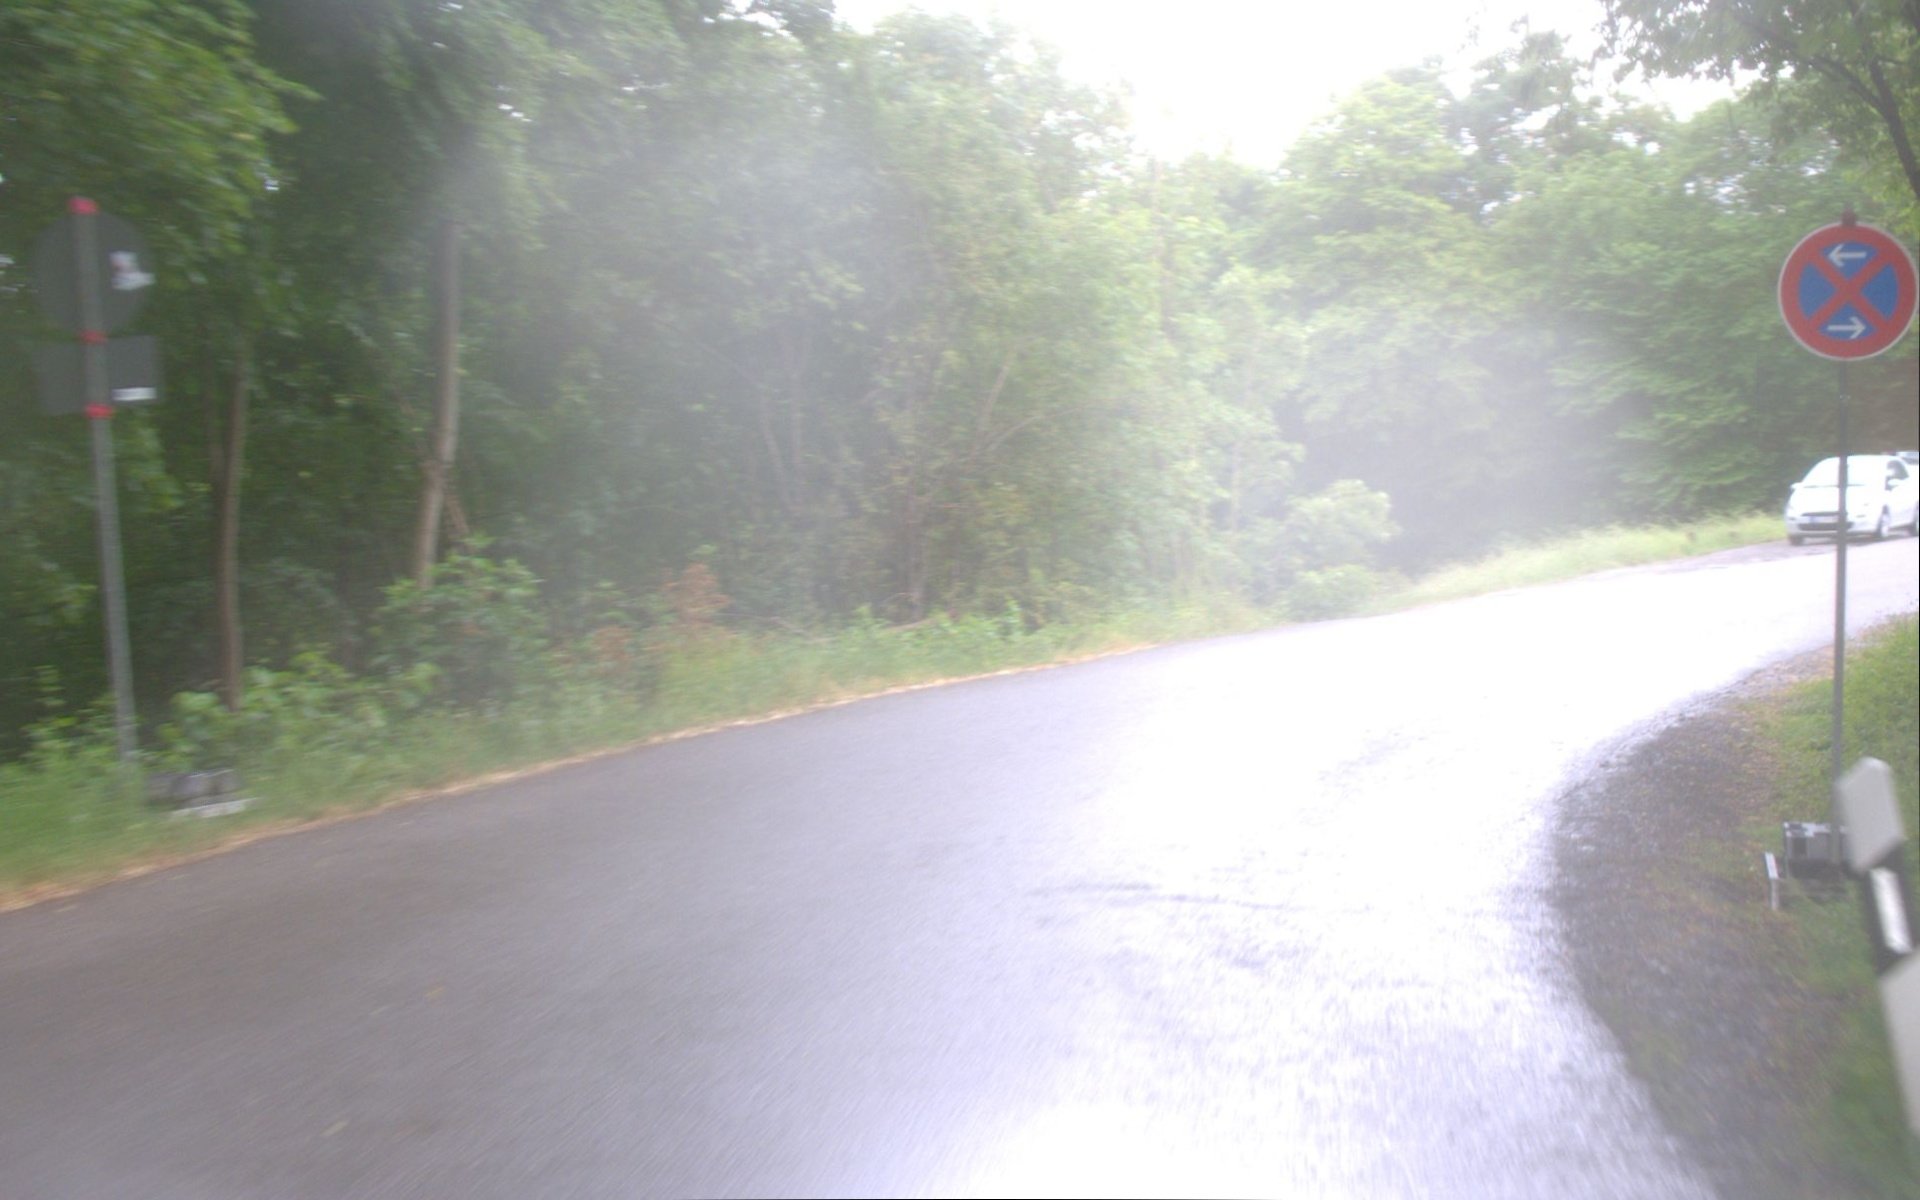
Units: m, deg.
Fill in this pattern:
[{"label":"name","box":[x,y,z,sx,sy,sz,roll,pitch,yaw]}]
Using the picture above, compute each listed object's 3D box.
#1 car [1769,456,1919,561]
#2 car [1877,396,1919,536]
[{"label":"car","box":[15.958,-1.651,60.957,1.864,1.590,4.488,-3,2,30]},{"label":"car","box":[20.598,-2.868,69.663,2.276,2.687,6.040,-4,2,30]}]
